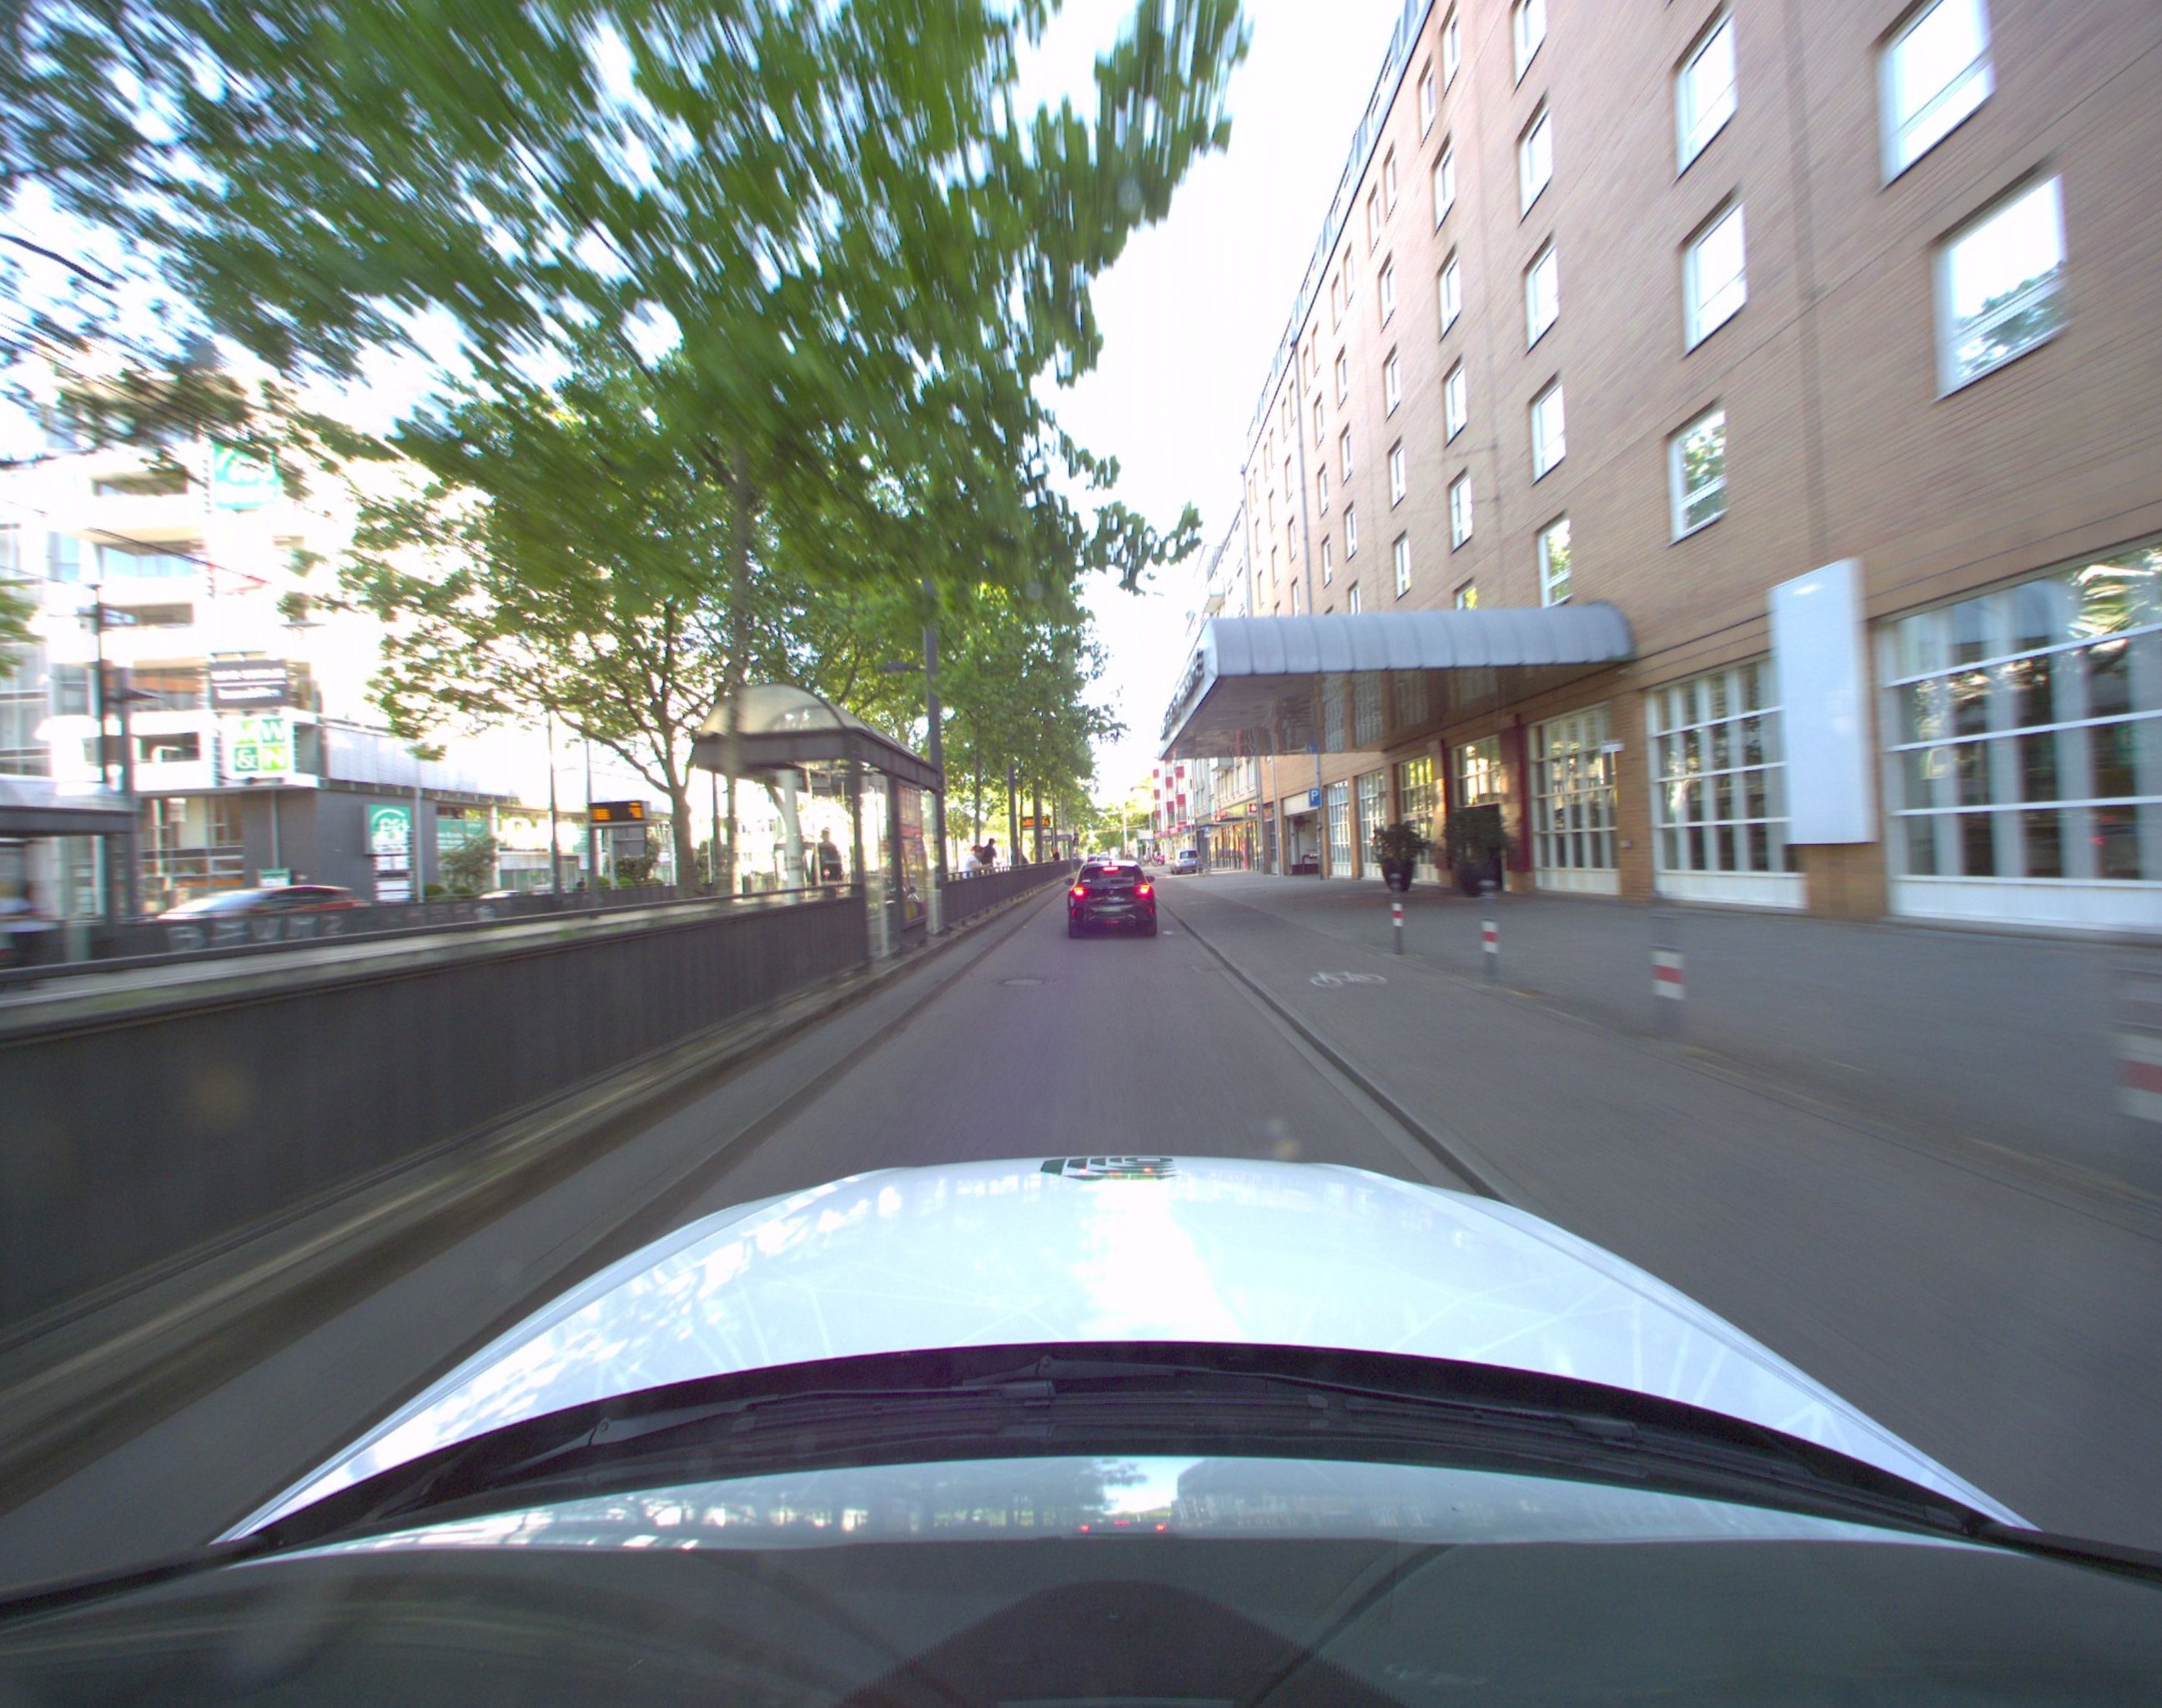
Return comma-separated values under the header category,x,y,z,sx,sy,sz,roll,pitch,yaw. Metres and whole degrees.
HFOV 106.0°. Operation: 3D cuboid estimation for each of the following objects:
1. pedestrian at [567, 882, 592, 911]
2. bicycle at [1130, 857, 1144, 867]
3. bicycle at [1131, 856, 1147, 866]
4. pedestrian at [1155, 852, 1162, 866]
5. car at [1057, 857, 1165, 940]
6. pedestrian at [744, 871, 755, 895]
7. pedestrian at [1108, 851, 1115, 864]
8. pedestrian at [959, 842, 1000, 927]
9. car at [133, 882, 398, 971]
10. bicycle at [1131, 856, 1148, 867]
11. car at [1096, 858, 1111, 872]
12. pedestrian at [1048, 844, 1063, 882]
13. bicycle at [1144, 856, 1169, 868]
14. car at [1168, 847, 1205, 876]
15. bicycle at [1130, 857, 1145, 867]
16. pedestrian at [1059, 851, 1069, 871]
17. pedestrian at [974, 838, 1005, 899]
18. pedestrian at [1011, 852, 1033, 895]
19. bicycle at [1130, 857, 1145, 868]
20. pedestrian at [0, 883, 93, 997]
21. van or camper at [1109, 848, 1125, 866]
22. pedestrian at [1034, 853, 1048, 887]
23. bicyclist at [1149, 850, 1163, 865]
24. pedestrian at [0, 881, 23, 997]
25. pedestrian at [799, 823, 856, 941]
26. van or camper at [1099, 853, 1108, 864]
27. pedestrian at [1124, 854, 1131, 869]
category,x,y,z,sx,sy,sz,roll,pitch,yaw
pedestrian,-28.535,2.426,46.336,0.903,1.592,0.767,-3,-1,0
bicycle,6.948,1.026,100.855,1.615,1.199,0.497,-3,-1,5
bicycle,7.031,0.864,98.721,1.935,1.170,0.572,-3,-1,-3
pedestrian,10.712,0.669,112.658,0.720,1.858,0.801,-3,-1,0
car,0.610,0.809,16.800,1.898,1.425,4.217,-2,0,2
pedestrian,-28.010,2.481,68.864,0.604,1.976,0.834,-1,0,-1
pedestrian,4.982,0.528,133.179,1.033,2.024,1.212,-2,-1,-1
pedestrian,-2.081,0.616,16.722,0.738,1.690,0.645,0,-1,0
car,-18.766,1.594,19.054,1.985,1.640,4.003,-4,-1,3
bicycle,7.131,0.894,99.414,1.973,1.199,0.590,-3,-1,-4
car,2.705,1.355,97.726,1.826,1.623,4.286,-1,0,2
pedestrian,-1.314,0.461,41.902,0.644,1.887,0.661,-3,-1,1
bicycle,8.046,0.840,87.067,0.969,1.183,2.566,-2,-1,-42
car,6.905,0.487,53.653,1.826,1.622,4.286,-5,-1,2
bicycle,6.989,1.039,101.557,1.793,1.199,0.546,-3,-2,5
pedestrian,-1.135,0.470,54.439,0.624,1.319,0.801,-2,0,2
pedestrian,-2.824,0.439,25.160,0.703,1.802,0.828,-2,-1,5
pedestrian,-2.395,0.777,33.076,0.726,1.702,0.863,-2,0,3
bicycle,6.984,1.026,100.283,1.823,1.221,0.496,-3,-1,4
pedestrian,-14.335,1.166,11.253,0.569,1.486,0.606,-2,0,-11
van or camper,6.883,0.615,155.974,2.368,3.125,7.549,-5,-1,0
pedestrian,-2.285,0.918,46.778,0.643,1.871,0.753,-2,-1,2
bicyclist,8.028,0.397,87.054,1.066,1.540,1.066,-2,-1,-43
pedestrian,-14.351,1.118,10.533,0.552,1.497,0.549,-2,-1,-11
pedestrian,-4.091,0.445,13.162,0.644,1.839,0.638,-2,-1,1
van or camper,6.425,1.343,229.670,2.477,2.994,5.436,-1,-1,2
pedestrian,5.429,0.872,95.999,0.730,1.746,0.713,-2,0,6
